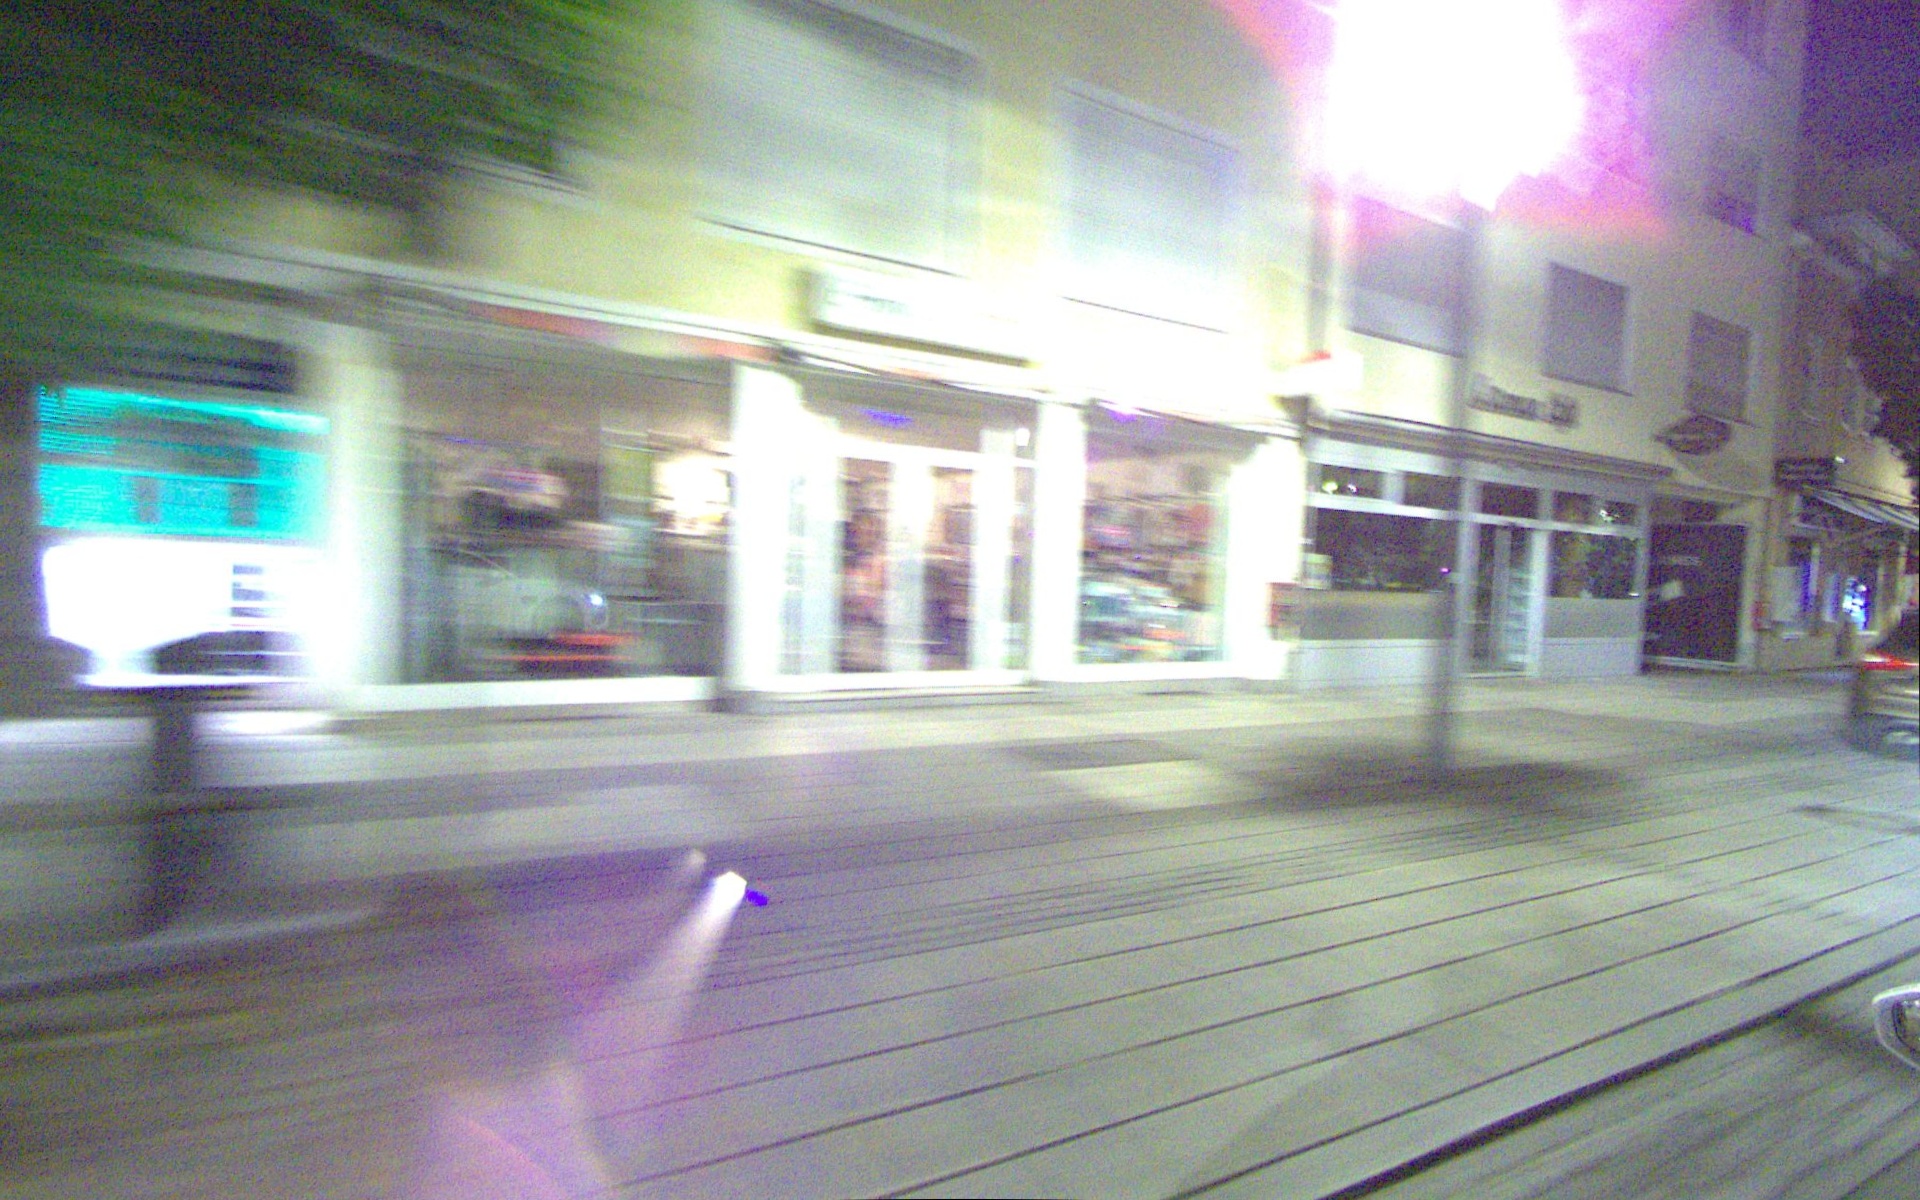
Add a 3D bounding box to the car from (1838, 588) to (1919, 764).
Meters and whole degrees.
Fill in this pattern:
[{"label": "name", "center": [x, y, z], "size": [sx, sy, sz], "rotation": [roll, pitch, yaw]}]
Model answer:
[{"label": "car", "center": [10.587, 0.753, 10.099], "size": [4.189, 1.564, 1.662], "rotation": [1, 3, -36]}]
